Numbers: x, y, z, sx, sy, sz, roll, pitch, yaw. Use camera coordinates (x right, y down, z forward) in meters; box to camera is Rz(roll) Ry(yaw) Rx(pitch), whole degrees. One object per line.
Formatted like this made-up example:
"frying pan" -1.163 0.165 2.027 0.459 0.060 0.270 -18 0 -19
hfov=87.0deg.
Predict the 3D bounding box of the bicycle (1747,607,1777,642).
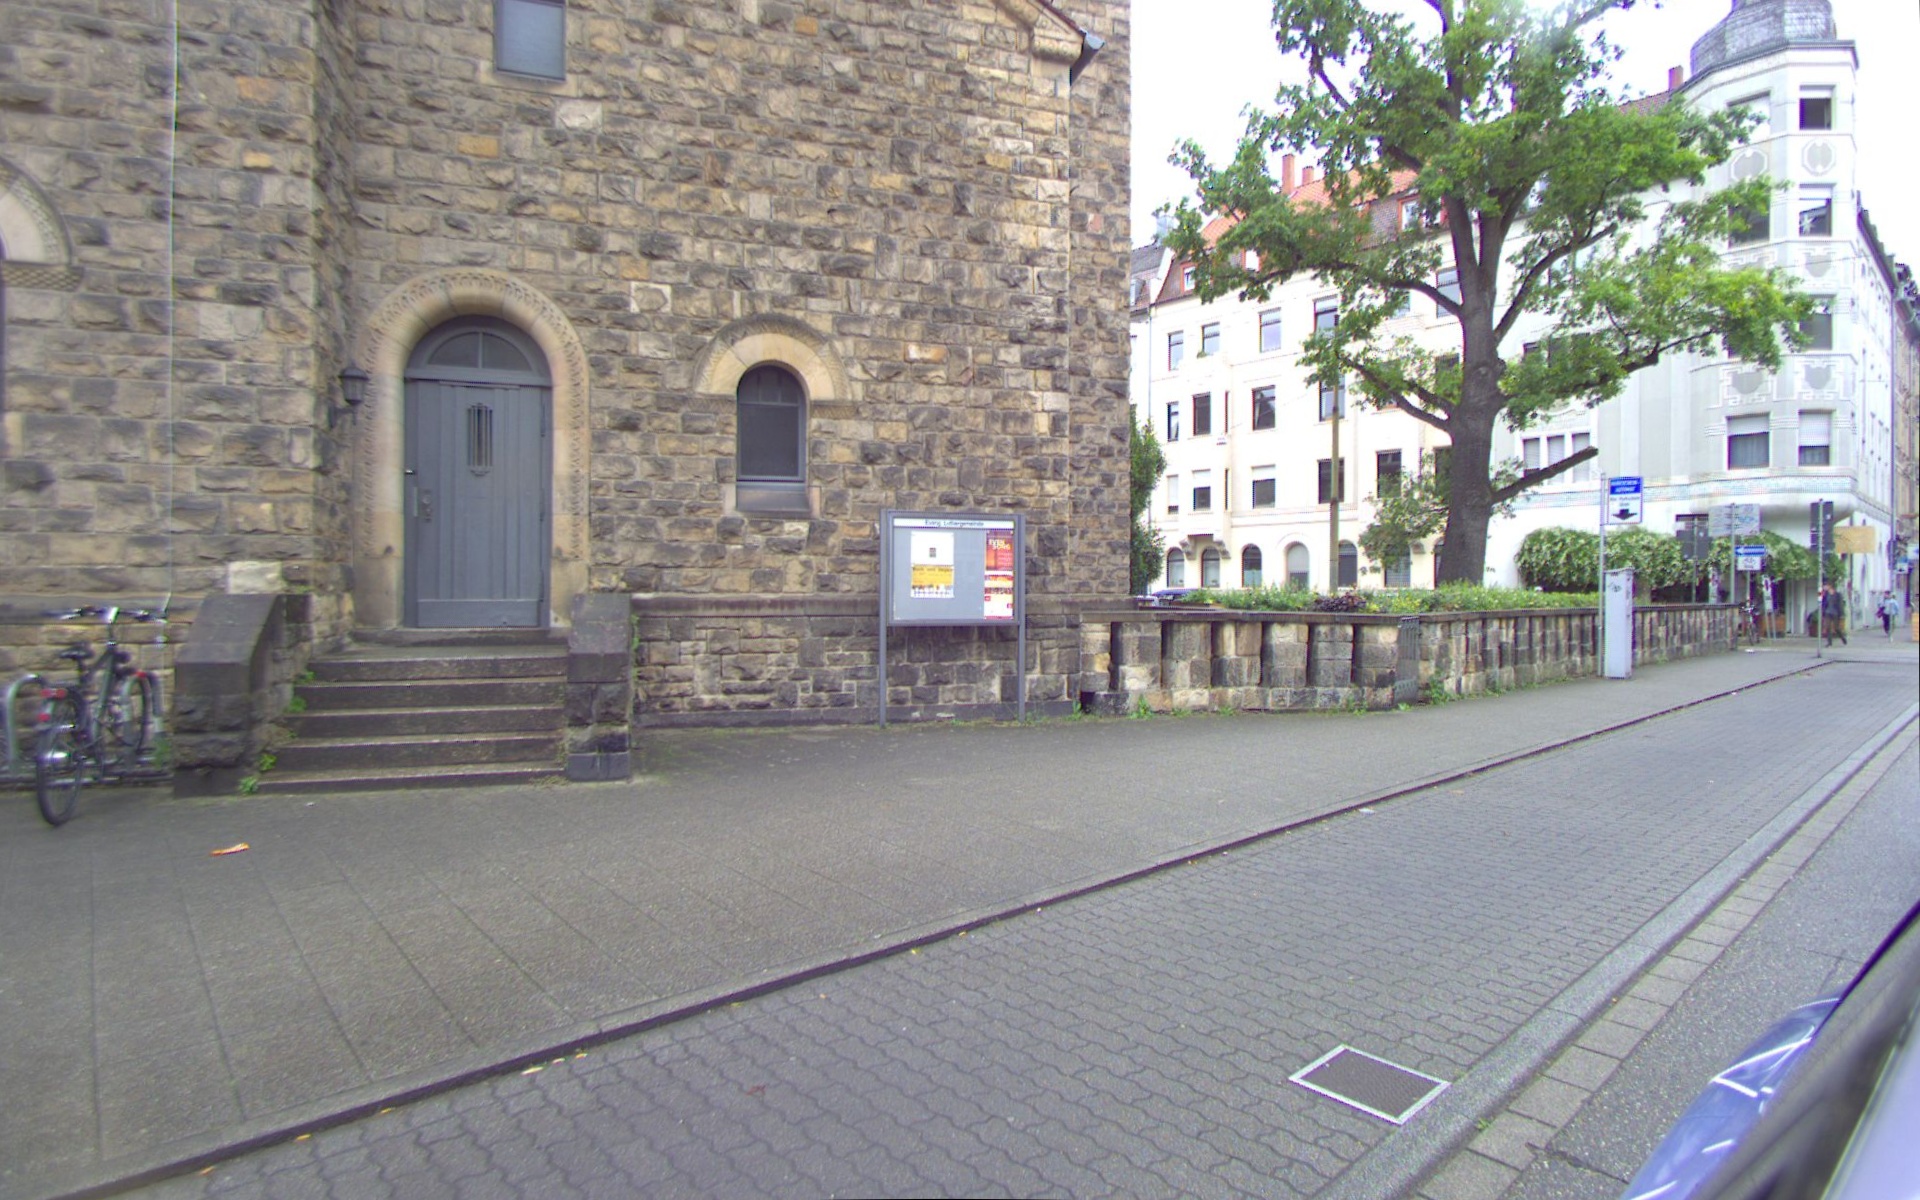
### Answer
"bicycle" 24.495 0.735 30.882 1.990 0.904 0.390 -3 3 -42

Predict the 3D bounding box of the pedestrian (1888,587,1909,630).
"pedestrian" 32.822 0.282 35.403 0.385 1.479 0.481 0 1 -42

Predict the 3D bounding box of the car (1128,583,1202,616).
"car" 9.642 -0.043 47.692 1.421 1.427 3.271 0 1 -38

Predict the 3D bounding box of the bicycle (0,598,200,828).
"bicycle" -5.097 0.567 6.072 0.502 1.067 1.994 0 3 -27

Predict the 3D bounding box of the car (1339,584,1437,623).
"car" 16.895 0.096 40.042 1.421 1.427 3.271 0 1 -38

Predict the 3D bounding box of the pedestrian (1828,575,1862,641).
"pedestrian" 26.044 0.224 29.770 0.681 1.896 0.645 0 1 -42

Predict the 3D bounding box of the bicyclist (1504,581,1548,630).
"bicyclist" 18.288 0.169 32.703 0.527 1.549 1.134 0 0 -38

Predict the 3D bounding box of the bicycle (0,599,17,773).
"bicycle" -6.266 0.599 5.968 0.550 1.125 1.717 0 3 -27
